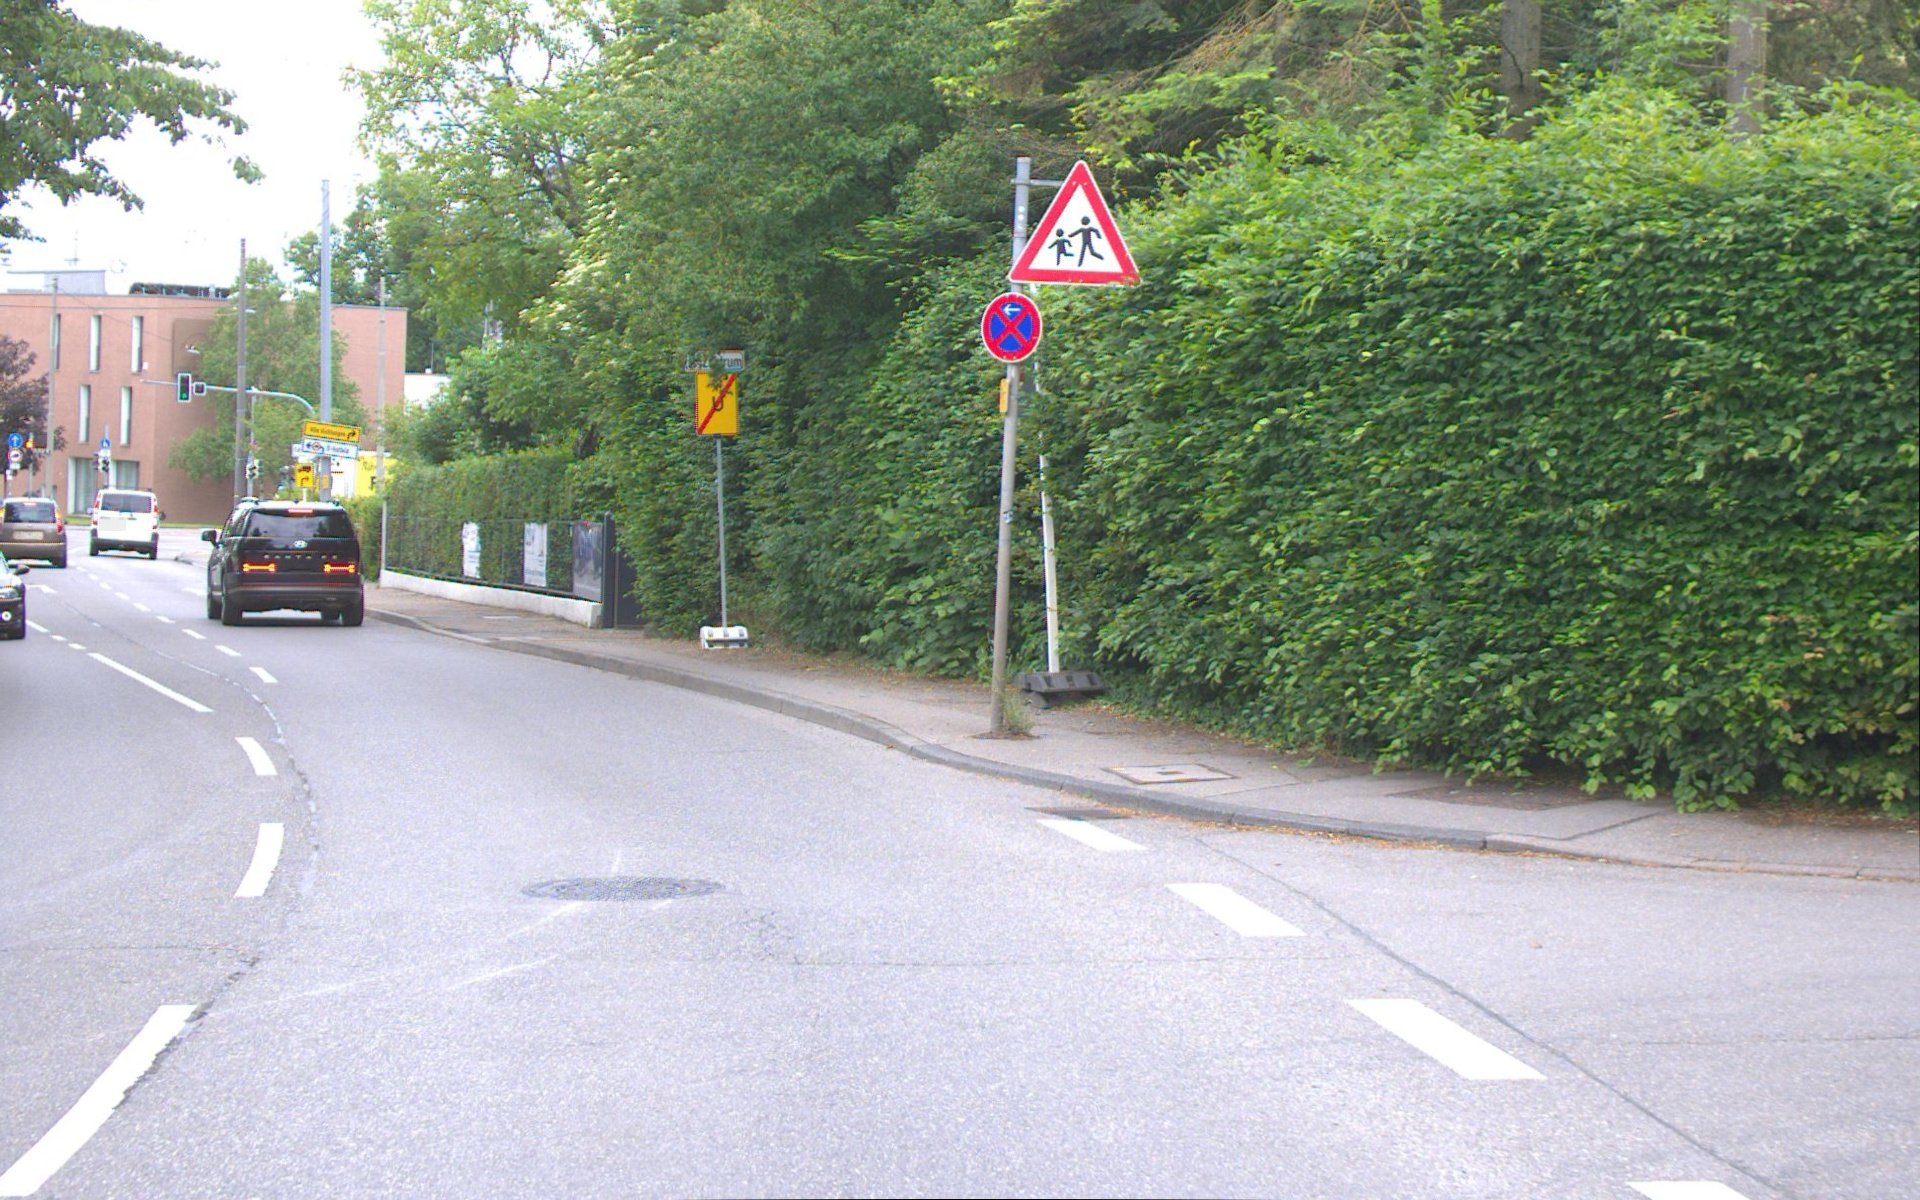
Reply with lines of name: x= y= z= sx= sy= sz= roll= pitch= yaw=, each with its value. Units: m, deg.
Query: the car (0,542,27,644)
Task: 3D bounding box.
car: x=-12.433 y=-0.107 z=42.400 sx=1.690 sy=1.173 sz=3.788 roll=0 pitch=1 yaw=-14

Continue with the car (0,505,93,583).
car: x=-21.337 y=-1.310 z=79.380 sx=1.893 sy=1.700 sz=4.001 roll=2 pitch=1 yaw=-5

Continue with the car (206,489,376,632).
car: x=-9.421 y=-0.581 z=48.194 sx=1.993 sy=1.875 sz=4.001 roll=1 pitch=1 yaw=-15

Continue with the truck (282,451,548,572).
truck: x=-22.878 y=-3.669 z=145.206 sx=3.133 sy=4.718 sz=11.767 roll=3 pitch=2 yaw=40

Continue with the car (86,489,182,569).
car: x=-23.481 y=-2.043 z=97.865 sx=1.961 sy=2.006 sz=4.429 roll=5 pitch=2 yaw=-6
